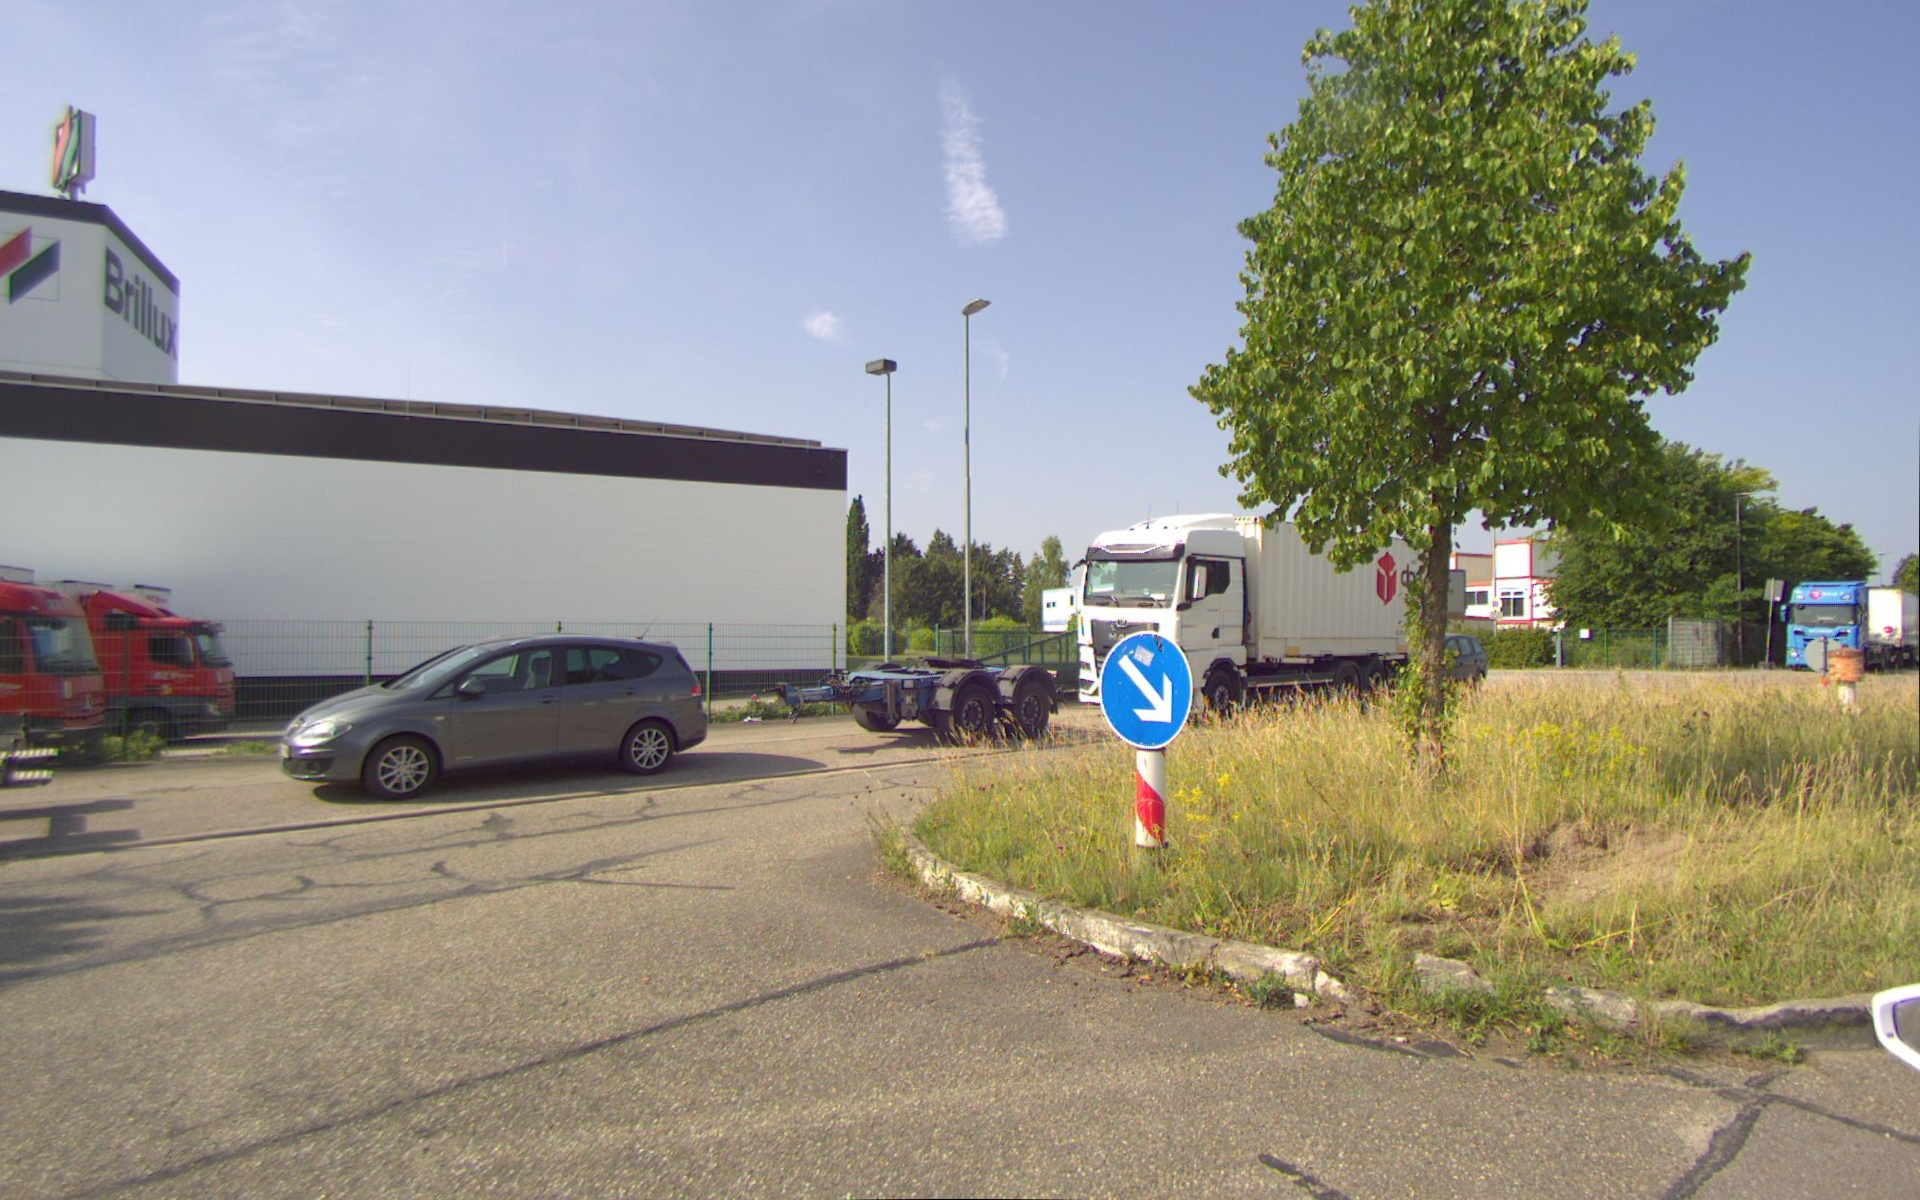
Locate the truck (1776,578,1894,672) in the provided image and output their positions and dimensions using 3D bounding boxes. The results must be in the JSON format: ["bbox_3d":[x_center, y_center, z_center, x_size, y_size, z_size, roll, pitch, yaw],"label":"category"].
[{"bbox_3d":[40.029,1.251,45.816,9.600,3.876,2.800,4,-2,-41],"label":"truck"}]

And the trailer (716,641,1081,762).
[{"bbox_3d":[-0.833,1.398,15.443,5.035,1.473,2.659,2,-2,-40],"label":"trailer"}]

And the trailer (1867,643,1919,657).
[{"bbox_3d":[53.467,2.852,57.523,3.970,0.770,1.880,2,-3,-42],"label":"trailer"}]

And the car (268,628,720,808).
[{"bbox_3d":[-5.054,1.154,11.272,4.301,1.582,1.681,2,0,-41],"label":"car"}]

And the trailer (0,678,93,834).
[{"bbox_3d":[-10.158,1.191,6.651,6.660,0.937,2.523,2,1,-42],"label":"trailer"}]

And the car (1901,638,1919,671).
[{"bbox_3d":[59.817,3.363,62.219,1.970,2.040,3.982,-1,-2,39],"label":"car"}]

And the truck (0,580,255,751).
[{"bbox_3d":[-21.911,1.558,24.728,6.921,3.922,2.756,3,-1,-26],"label":"truck"}]

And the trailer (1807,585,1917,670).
[{"bbox_3d":[46.217,1.531,51.301,11.945,3.893,2.806,4,-2,-41],"label":"trailer"}]

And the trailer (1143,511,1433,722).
[{"bbox_3d":[7.547,0.469,22.458,7.519,3.973,2.675,4,-2,-42],"label":"trailer"}]

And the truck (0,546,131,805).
[{"bbox_3d":[-17.491,1.128,16.382,5.471,4.125,2.505,3,-1,-26],"label":"truck"}]

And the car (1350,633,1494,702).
[{"bbox_3d":[12.551,1.754,27.177,4.555,1.662,1.975,2,-1,-43],"label":"car"}]

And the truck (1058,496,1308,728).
[{"bbox_3d":[4.415,0.285,19.649,4.265,3.973,2.685,3,-2,-42],"label":"truck"}]

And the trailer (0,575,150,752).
[{"bbox_3d":[-27.082,1.280,22.214,13.824,4.060,2.846,2,-1,-25],"label":"trailer"}]
